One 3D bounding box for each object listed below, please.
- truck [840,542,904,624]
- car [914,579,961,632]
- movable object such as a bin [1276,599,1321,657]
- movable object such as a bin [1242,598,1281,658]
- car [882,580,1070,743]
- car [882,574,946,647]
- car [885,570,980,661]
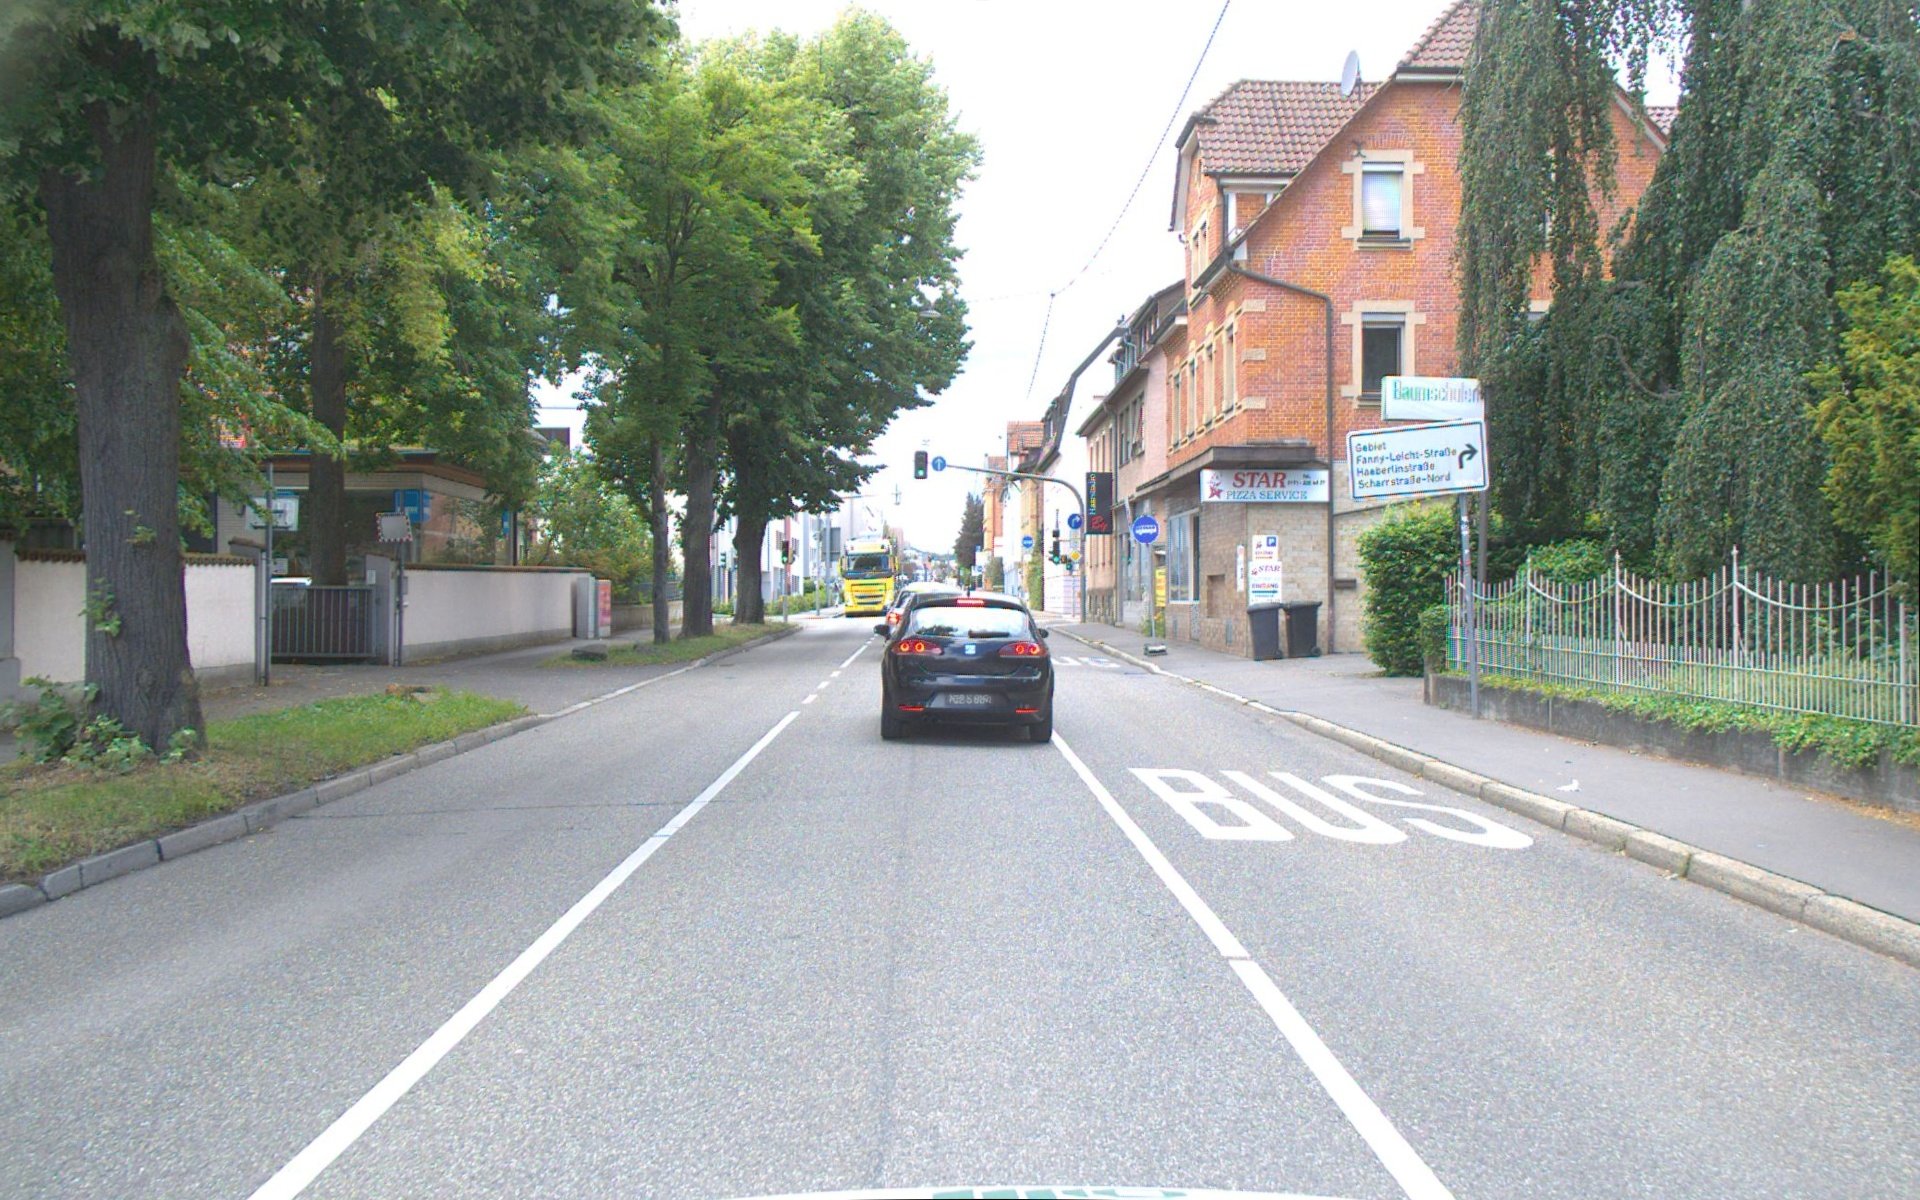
[{"bbox_3d":[-4.360,-0.787,83.474,2.786,3.848,7.668,2,0,0],"label":"truck"},{"bbox_3d":[-0.773,0.194,56.492,1.500,1.722,3.692,2,0,-1],"label":"car"},{"bbox_3d":[6.476,0.537,31.624,0.684,1.077,0.723,-1,0,-1],"label":"movable object such as a bin"},{"bbox_3d":[5.745,0.531,31.553,0.594,1.120,0.622,-1,0,-1],"label":"movable object such as a bin"},{"bbox_3d":[0.117,0.584,17.466,1.723,1.467,3.999,2,0,-1],"label":"car"},{"bbox_3d":[-1.151,0.266,41.784,1.500,1.722,3.692,2,0,-1],"label":"car"},{"bbox_3d":[-0.573,0.314,34.183,1.805,1.722,3.999,2,0,-1],"label":"car"}]
